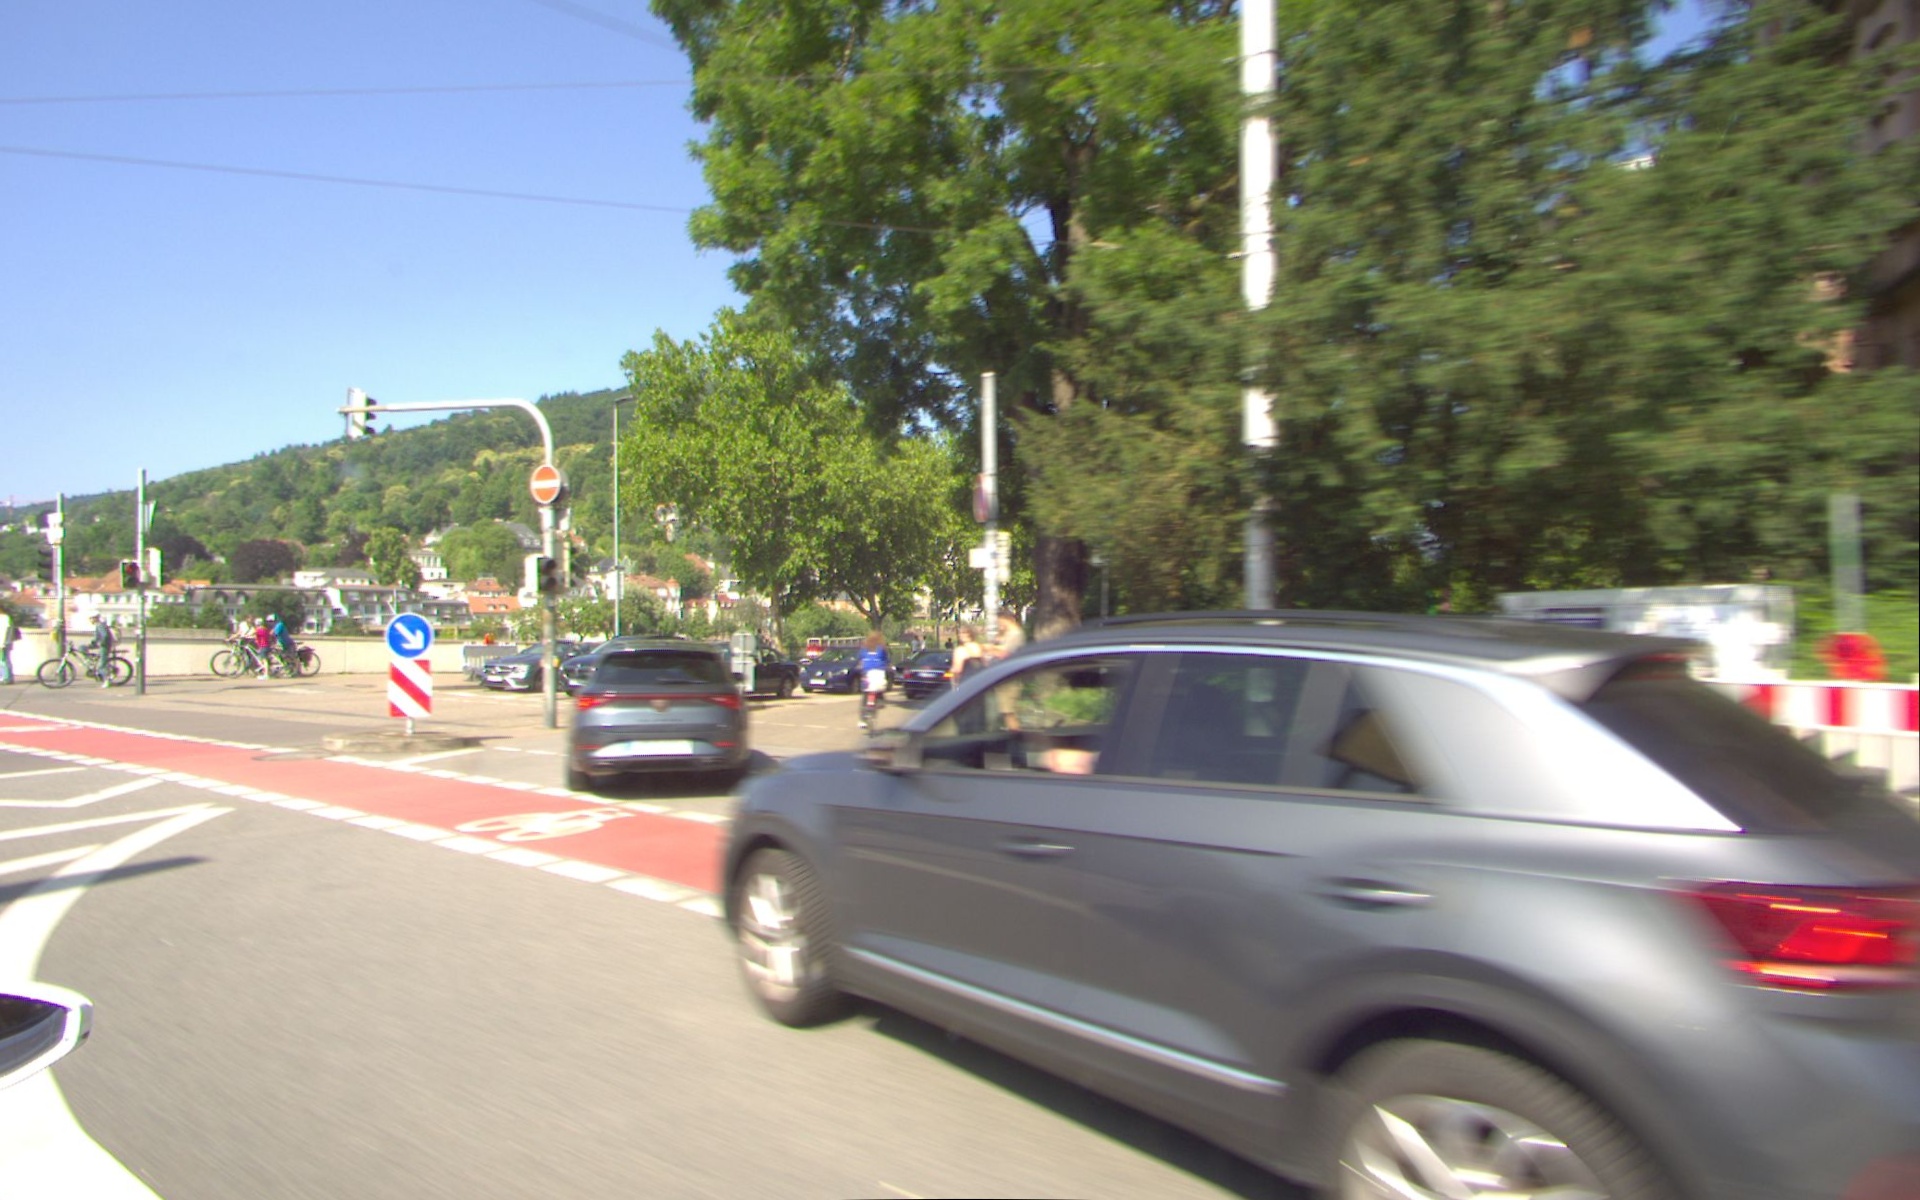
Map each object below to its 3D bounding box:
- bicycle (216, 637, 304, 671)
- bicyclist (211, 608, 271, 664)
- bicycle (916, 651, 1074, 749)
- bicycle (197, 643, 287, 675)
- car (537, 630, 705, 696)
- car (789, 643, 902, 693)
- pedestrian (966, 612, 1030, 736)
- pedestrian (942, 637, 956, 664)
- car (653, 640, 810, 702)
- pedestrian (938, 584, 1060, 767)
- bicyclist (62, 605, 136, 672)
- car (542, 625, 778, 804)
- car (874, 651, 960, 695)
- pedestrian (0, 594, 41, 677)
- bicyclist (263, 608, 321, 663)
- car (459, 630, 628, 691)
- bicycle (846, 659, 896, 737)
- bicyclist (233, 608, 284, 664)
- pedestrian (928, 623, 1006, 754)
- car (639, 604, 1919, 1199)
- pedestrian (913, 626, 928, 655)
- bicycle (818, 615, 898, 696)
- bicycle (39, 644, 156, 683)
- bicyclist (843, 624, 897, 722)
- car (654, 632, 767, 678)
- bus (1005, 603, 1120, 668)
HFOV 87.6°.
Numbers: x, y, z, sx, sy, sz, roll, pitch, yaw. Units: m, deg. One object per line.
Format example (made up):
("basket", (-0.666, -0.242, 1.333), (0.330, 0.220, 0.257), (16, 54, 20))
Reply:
("bicycle", (-18.963, 1.470, 27.149), (1.922, 0.864, 0.561), (3, -2, -37))
("bicyclist", (-19.897, 0.995, 27.715), (0.915, 1.493, 1.077), (0, -2, 36))
("bicycle", (0.454, 1.390, 14.111), (0.794, 1.221, 2.254), (-3, -2, -44))
("bicycle", (-19.839, 1.618, 27.716), (0.557, 0.837, 1.935), (1, -2, 33))
("car", (-8.746, 1.596, 26.279), (1.814, 1.525, 4.480), (1, -2, 19))
("car", (-3.562, 2.101, 31.952), (1.814, 1.397, 4.480), (1, -2, 19))
("pedestrian", (0.594, 1.111, 15.321), (0.689, 1.803, 1.059), (-4, -2, 14))
("pedestrian", (-0.743, 3.369, 66.585), (0.665, 1.798, 0.740), (1, -1, 24))
("car", (-5.695, 1.739, 25.494), (1.849, 1.375, 4.310), (1, -2, 20))
("pedestrian", (0.475, 0.897, 12.038), (1.044, 2.038, 0.775), (-7, -3, 24))
("bicyclist", (-19.784, 0.883, 23.019), (0.789, 1.493, 1.078), (1, -2, 33))
("car", (-3.303, 1.054, 10.849), (1.966, 1.509, 4.275), (2, -2, -19))
("car", (-1.575, 2.770, 38.615), (1.814, 1.461, 4.480), (1, -2, 19))
("pedestrian", (-21.818, 0.815, 23.107), (0.635, 1.880, 0.772), (0, 0, 32))
("bicyclist", (-18.823, 1.006, 28.221), (0.916, 1.493, 1.076), (0, -2, 37))
("car", (-11.383, 1.599, 27.717), (1.814, 1.414, 4.478), (0, 0, 19))
("bicycle", (-1.460, 1.595, 16.754), (0.605, 1.179, 2.251), (0, -3, 1))
("bicyclist", (-19.034, 0.979, 27.165), (1.070, 1.493, 0.757), (2, -2, -36))
("pedestrian", (0.103, 1.194, 13.897), (0.878, 1.733, 0.673), (0, 1, 26))
("car", (0.681, 0.786, 3.451), (1.916, 1.536, 3.954), (0, 0, -43))
("pedestrian", (-2.451, 2.542, 62.677), (0.665, 1.798, 0.740), (1, -1, 24))
("bicycle", (-1.653, 0.894, 16.567), (0.704, 1.241, 2.003), (1, -2, 13))
("bicycle", (-19.798, 1.448, 23.031), (0.557, 0.837, 1.935), (1, -2, 33))
("bicyclist", (-1.507, 1.201, 16.839), (0.762, 1.574, 1.060), (0, 0, 2))
("car", (-8.671, 1.904, 35.193), (1.814, 1.466, 4.482), (1, -2, 17))
("bus", (5.123, 1.659, 47.956), (3.057, 2.819, 8.832), (-1, -1, 23))
